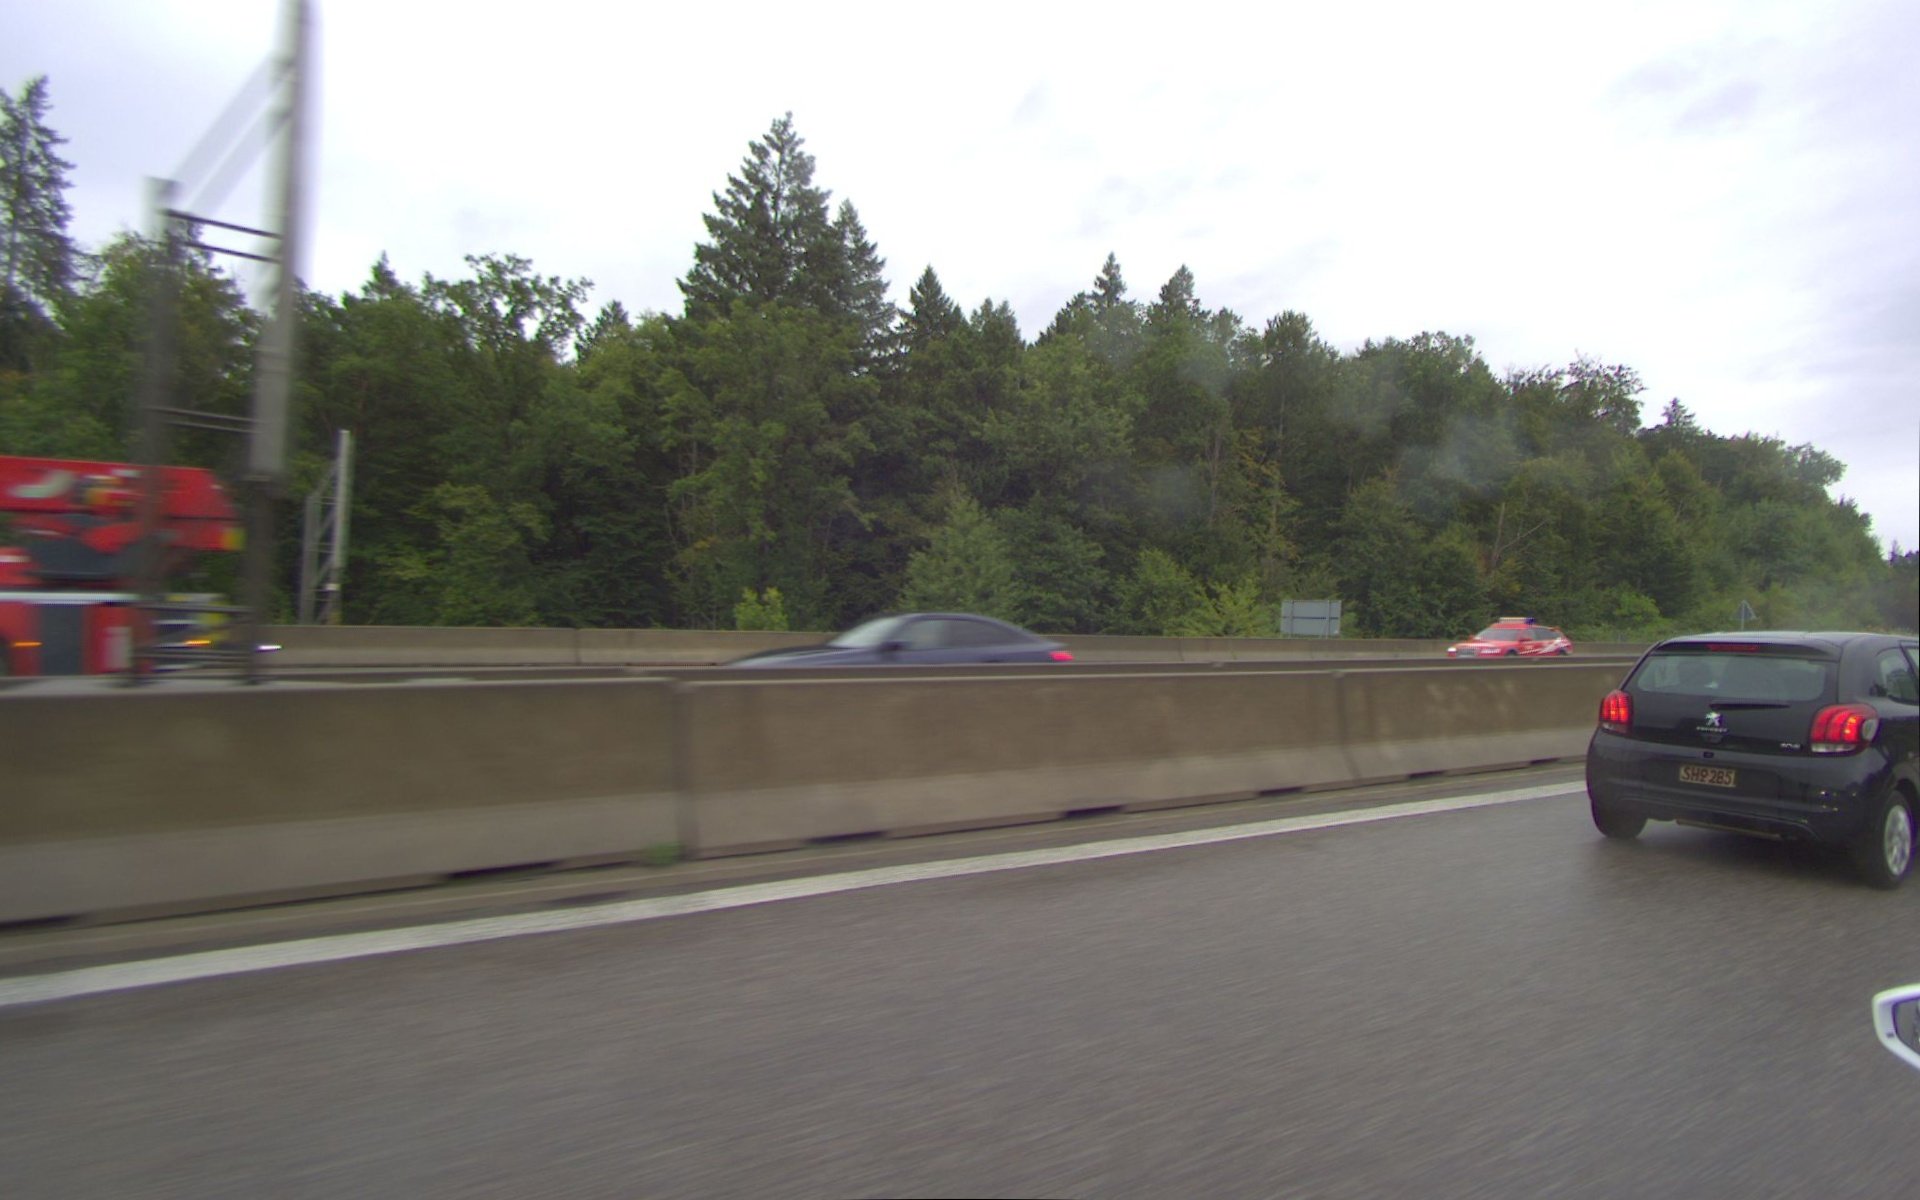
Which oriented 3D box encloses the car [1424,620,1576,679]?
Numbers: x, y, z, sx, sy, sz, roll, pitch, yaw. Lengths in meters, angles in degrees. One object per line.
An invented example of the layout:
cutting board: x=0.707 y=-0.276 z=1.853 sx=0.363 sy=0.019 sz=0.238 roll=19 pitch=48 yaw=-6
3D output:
car: x=17.091 y=1.537 z=31.729 sx=4.916 sy=1.722 sz=1.984 roll=2 pitch=-1 yaw=-31

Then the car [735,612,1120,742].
car: x=-0.361 y=0.914 z=13.195 sx=4.696 sy=1.409 sz=1.984 roll=1 pitch=0 yaw=-30

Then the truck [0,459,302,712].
truck: x=-14.727 y=-0.233 z=12.674 sx=10.537 sy=3.217 sz=2.420 roll=1 pitch=0 yaw=-30

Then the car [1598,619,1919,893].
car: x=6.350 y=0.923 z=7.377 sx=3.651 sy=1.482 sz=1.671 roll=1 pitch=0 yaw=-38
